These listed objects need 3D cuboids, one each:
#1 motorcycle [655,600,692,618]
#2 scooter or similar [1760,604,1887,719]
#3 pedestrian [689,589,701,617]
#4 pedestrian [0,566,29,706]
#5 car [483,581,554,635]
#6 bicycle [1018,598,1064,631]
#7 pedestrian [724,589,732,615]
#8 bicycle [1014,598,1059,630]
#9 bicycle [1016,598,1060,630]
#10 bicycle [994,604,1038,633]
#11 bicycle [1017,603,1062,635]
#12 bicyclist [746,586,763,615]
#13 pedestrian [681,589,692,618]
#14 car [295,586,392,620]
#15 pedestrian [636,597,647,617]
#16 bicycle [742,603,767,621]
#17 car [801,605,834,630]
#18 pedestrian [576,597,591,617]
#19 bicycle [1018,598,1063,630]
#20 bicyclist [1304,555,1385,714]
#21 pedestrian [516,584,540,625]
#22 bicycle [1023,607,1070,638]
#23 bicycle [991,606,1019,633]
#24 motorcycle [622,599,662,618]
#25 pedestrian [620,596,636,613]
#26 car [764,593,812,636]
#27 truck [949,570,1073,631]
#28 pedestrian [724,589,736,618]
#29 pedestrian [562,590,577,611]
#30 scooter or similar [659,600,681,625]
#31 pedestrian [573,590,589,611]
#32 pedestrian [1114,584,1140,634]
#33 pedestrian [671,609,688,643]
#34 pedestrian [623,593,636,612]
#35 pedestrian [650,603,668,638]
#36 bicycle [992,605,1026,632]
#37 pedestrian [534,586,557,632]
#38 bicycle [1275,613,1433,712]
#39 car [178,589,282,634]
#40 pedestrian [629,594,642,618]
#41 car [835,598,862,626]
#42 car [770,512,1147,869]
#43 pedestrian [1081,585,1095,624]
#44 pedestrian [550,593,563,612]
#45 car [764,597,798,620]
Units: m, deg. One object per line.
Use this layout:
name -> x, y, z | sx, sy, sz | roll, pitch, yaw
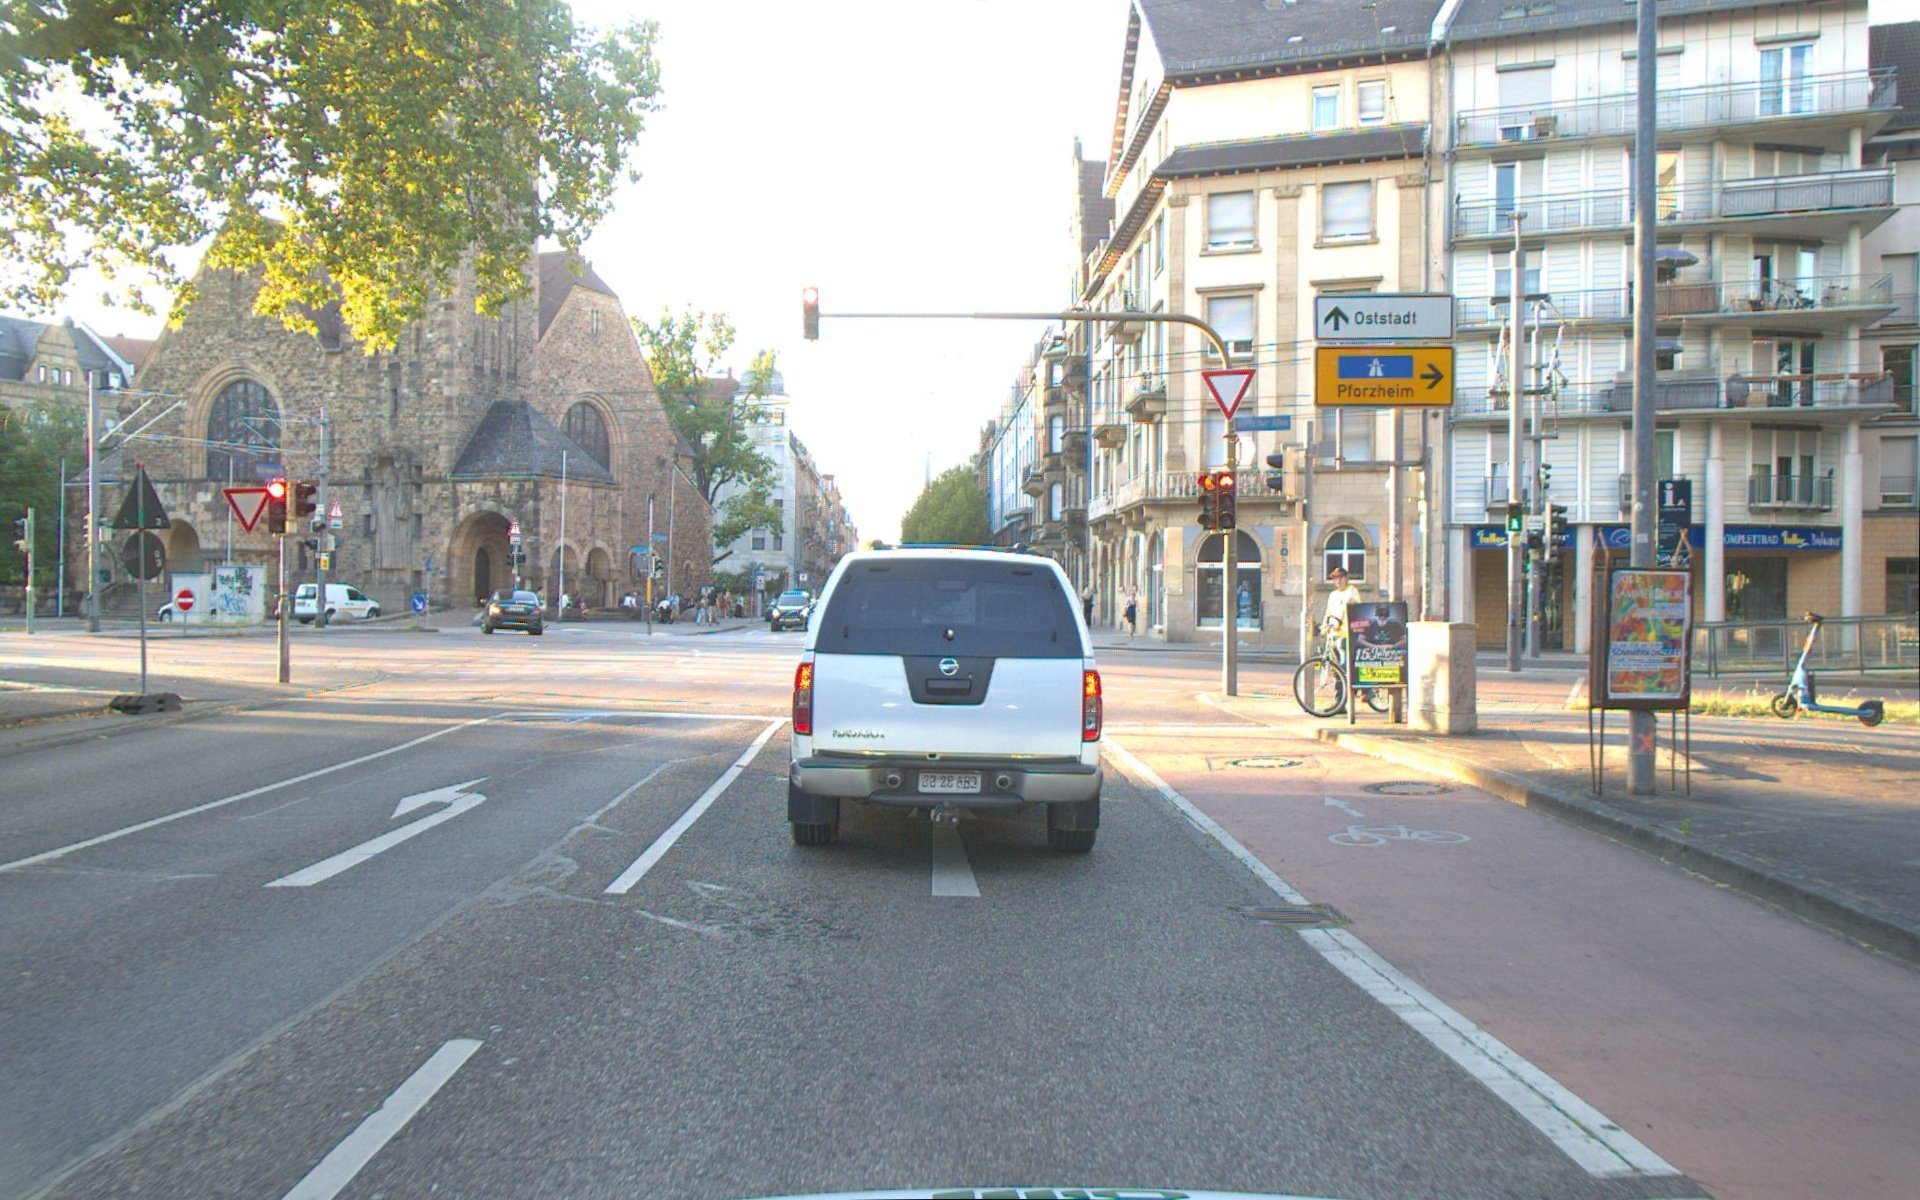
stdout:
motorcycle -> -17.320, 0.553, 99.963 | 2.119, 1.005, 0.594 | 1, -1, 19
scooter or similar -> 9.917, 0.691, 19.014 | 1.211, 1.271, 0.513 | 1, -1, 39
pedestrian -> -16.606, 0.209, 103.790 | 0.630, 1.725, 0.561 | 1, -1, -2
pedestrian -> -11.706, 0.418, 19.705 | 0.786, 1.656, 0.773 | 1, -1, -6
car -> -14.489, 0.302, 54.488 | 1.958, 1.646, 3.988 | 2, -2, -12
bicycle -> 3.313, 0.598, 67.414 | 1.781, 1.259, 0.488 | -3, -1, -3
pedestrian -> -15.524, 0.126, 110.649 | 0.549, 1.725, 0.643 | 1, -1, -9
bicycle -> 3.225, 0.591, 69.986 | 1.818, 1.259, 0.530 | -3, -1, -3
bicycle -> 3.275, 0.585, 69.455 | 1.781, 1.259, 0.410 | -3, -1, -3
bicycle -> 2.271, 0.744, 66.921 | 1.692, 1.102, 0.317 | -3, -1, -3
bicycle -> 3.273, 0.781, 68.122 | 1.781, 1.259, 0.477 | -3, -1, -3
bicyclist -> -12.215, 0.035, 98.248 | 0.594, 1.673, 0.951 | 2, -1, -37
pedestrian -> -16.806, 0.227, 101.596 | 0.631, 1.725, 0.560 | 1, -1, -9
car -> -29.131, 0.153, 78.346 | 1.679, 1.543, 4.454 | 1, -1, 23
pedestrian -> -16.234, 0.357, 84.287 | 0.513, 0.977, 0.477 | 1, -1, -17
bicycle -> -12.210, 0.705, 98.225 | 0.595, 1.062, 1.919 | 2, -1, -38
car -> -9.655, 1.167, 112.373 | 1.954, 1.585, 4.766 | 3, 0, -2
pedestrian -> -18.167, 0.332, 79.808 | 0.469, 0.977, 0.522 | 1, -1, 29
bicycle -> 3.354, 0.581, 68.852 | 1.781, 1.259, 0.412 | -3, -1, -3
bicyclist -> 4.594, 0.407, 19.778 | 0.690, 1.856, 0.621 | 2, -1, -33
pedestrian -> -18.471, 0.194, 70.706 | 0.796, 1.699, 0.859 | 1, -1, -3
bicycle -> 3.460, 0.903, 66.472 | 1.781, 1.170, 0.636 | -3, -1, -3
bicycle -> 1.843, 0.787, 67.798 | 1.055, 1.042, 0.317 | -3, -1, -3
motorcycle -> -18.356, 0.492, 95.633 | 2.201, 1.005, 0.707 | 1, -1, -7
pedestrian -> -18.557, 0.252, 92.389 | 0.540, 0.977, 0.710 | 1, -1, 20
car -> -8.097, 0.662, 78.317 | 1.954, 1.815, 4.796 | 2, 2, -3
truck -> 2.298, 0.057, 73.022 | 5.630, 2.610, 2.250 | 1, 0, -44
pedestrian -> -15.268, 0.210, 109.813 | 0.632, 1.888, 0.559 | 1, -1, -15
pedestrian -> -18.636, 0.034, 78.909 | 0.511, 0.977, 0.479 | 1, -1, 18
scooter or similar -> -14.455, 0.613, 82.417 | 0.620, 1.122, 1.079 | 4, 3, 16
pedestrian -> -18.022, 0.046, 78.642 | 0.511, 0.977, 0.479 | 1, -1, 18
pedestrian -> 6.076, 0.332, 60.221 | 0.771, 1.810, 0.543 | 1, -1, 25
pedestrian -> -14.111, 1.311, 83.251 | 0.620, 1.728, 0.603 | 1, -1, 13
pedestrian -> -16.859, 0.121, 84.368 | 0.510, 0.977, 0.479 | 1, -1, 16
pedestrian -> -15.187, 1.019, 83.430 | 0.620, 1.728, 0.603 | 1, -2, 17
bicycle -> 2.022, 0.781, 68.513 | 1.344, 1.042, 0.317 | -3, -1, -3
pedestrian -> -17.693, 0.388, 70.672 | 0.796, 1.934, 0.666 | 1, -1, -3
bicycle -> 4.753, 0.748, 19.888 | 2.046, 1.129, 0.621 | 2, -1, -34
car -> -29.175, 0.467, 66.091 | 3.917, 1.713, 1.994 | 1, -1, 33
pedestrian -> -16.868, 0.321, 86.011 | 0.468, 1.267, 0.523 | 1, -1, 16
car -> -8.660, 0.955, 128.423 | 1.953, 2.049, 4.948 | 0, -1, -2
car -> -0.030, 0.498, 10.757 | 1.953, 1.841, 3.999 | 1, -1, -1
pedestrian -> 5.564, 0.202, 71.881 | 0.517, 1.683, 0.547 | 1, -1, -1
pedestrian -> -21.547, 0.150, 88.360 | 0.541, 0.977, 0.708 | 1, -1, -7
car -> -11.621, 0.577, 107.616 | 1.821, 1.422, 3.998 | 1, -1, -2
